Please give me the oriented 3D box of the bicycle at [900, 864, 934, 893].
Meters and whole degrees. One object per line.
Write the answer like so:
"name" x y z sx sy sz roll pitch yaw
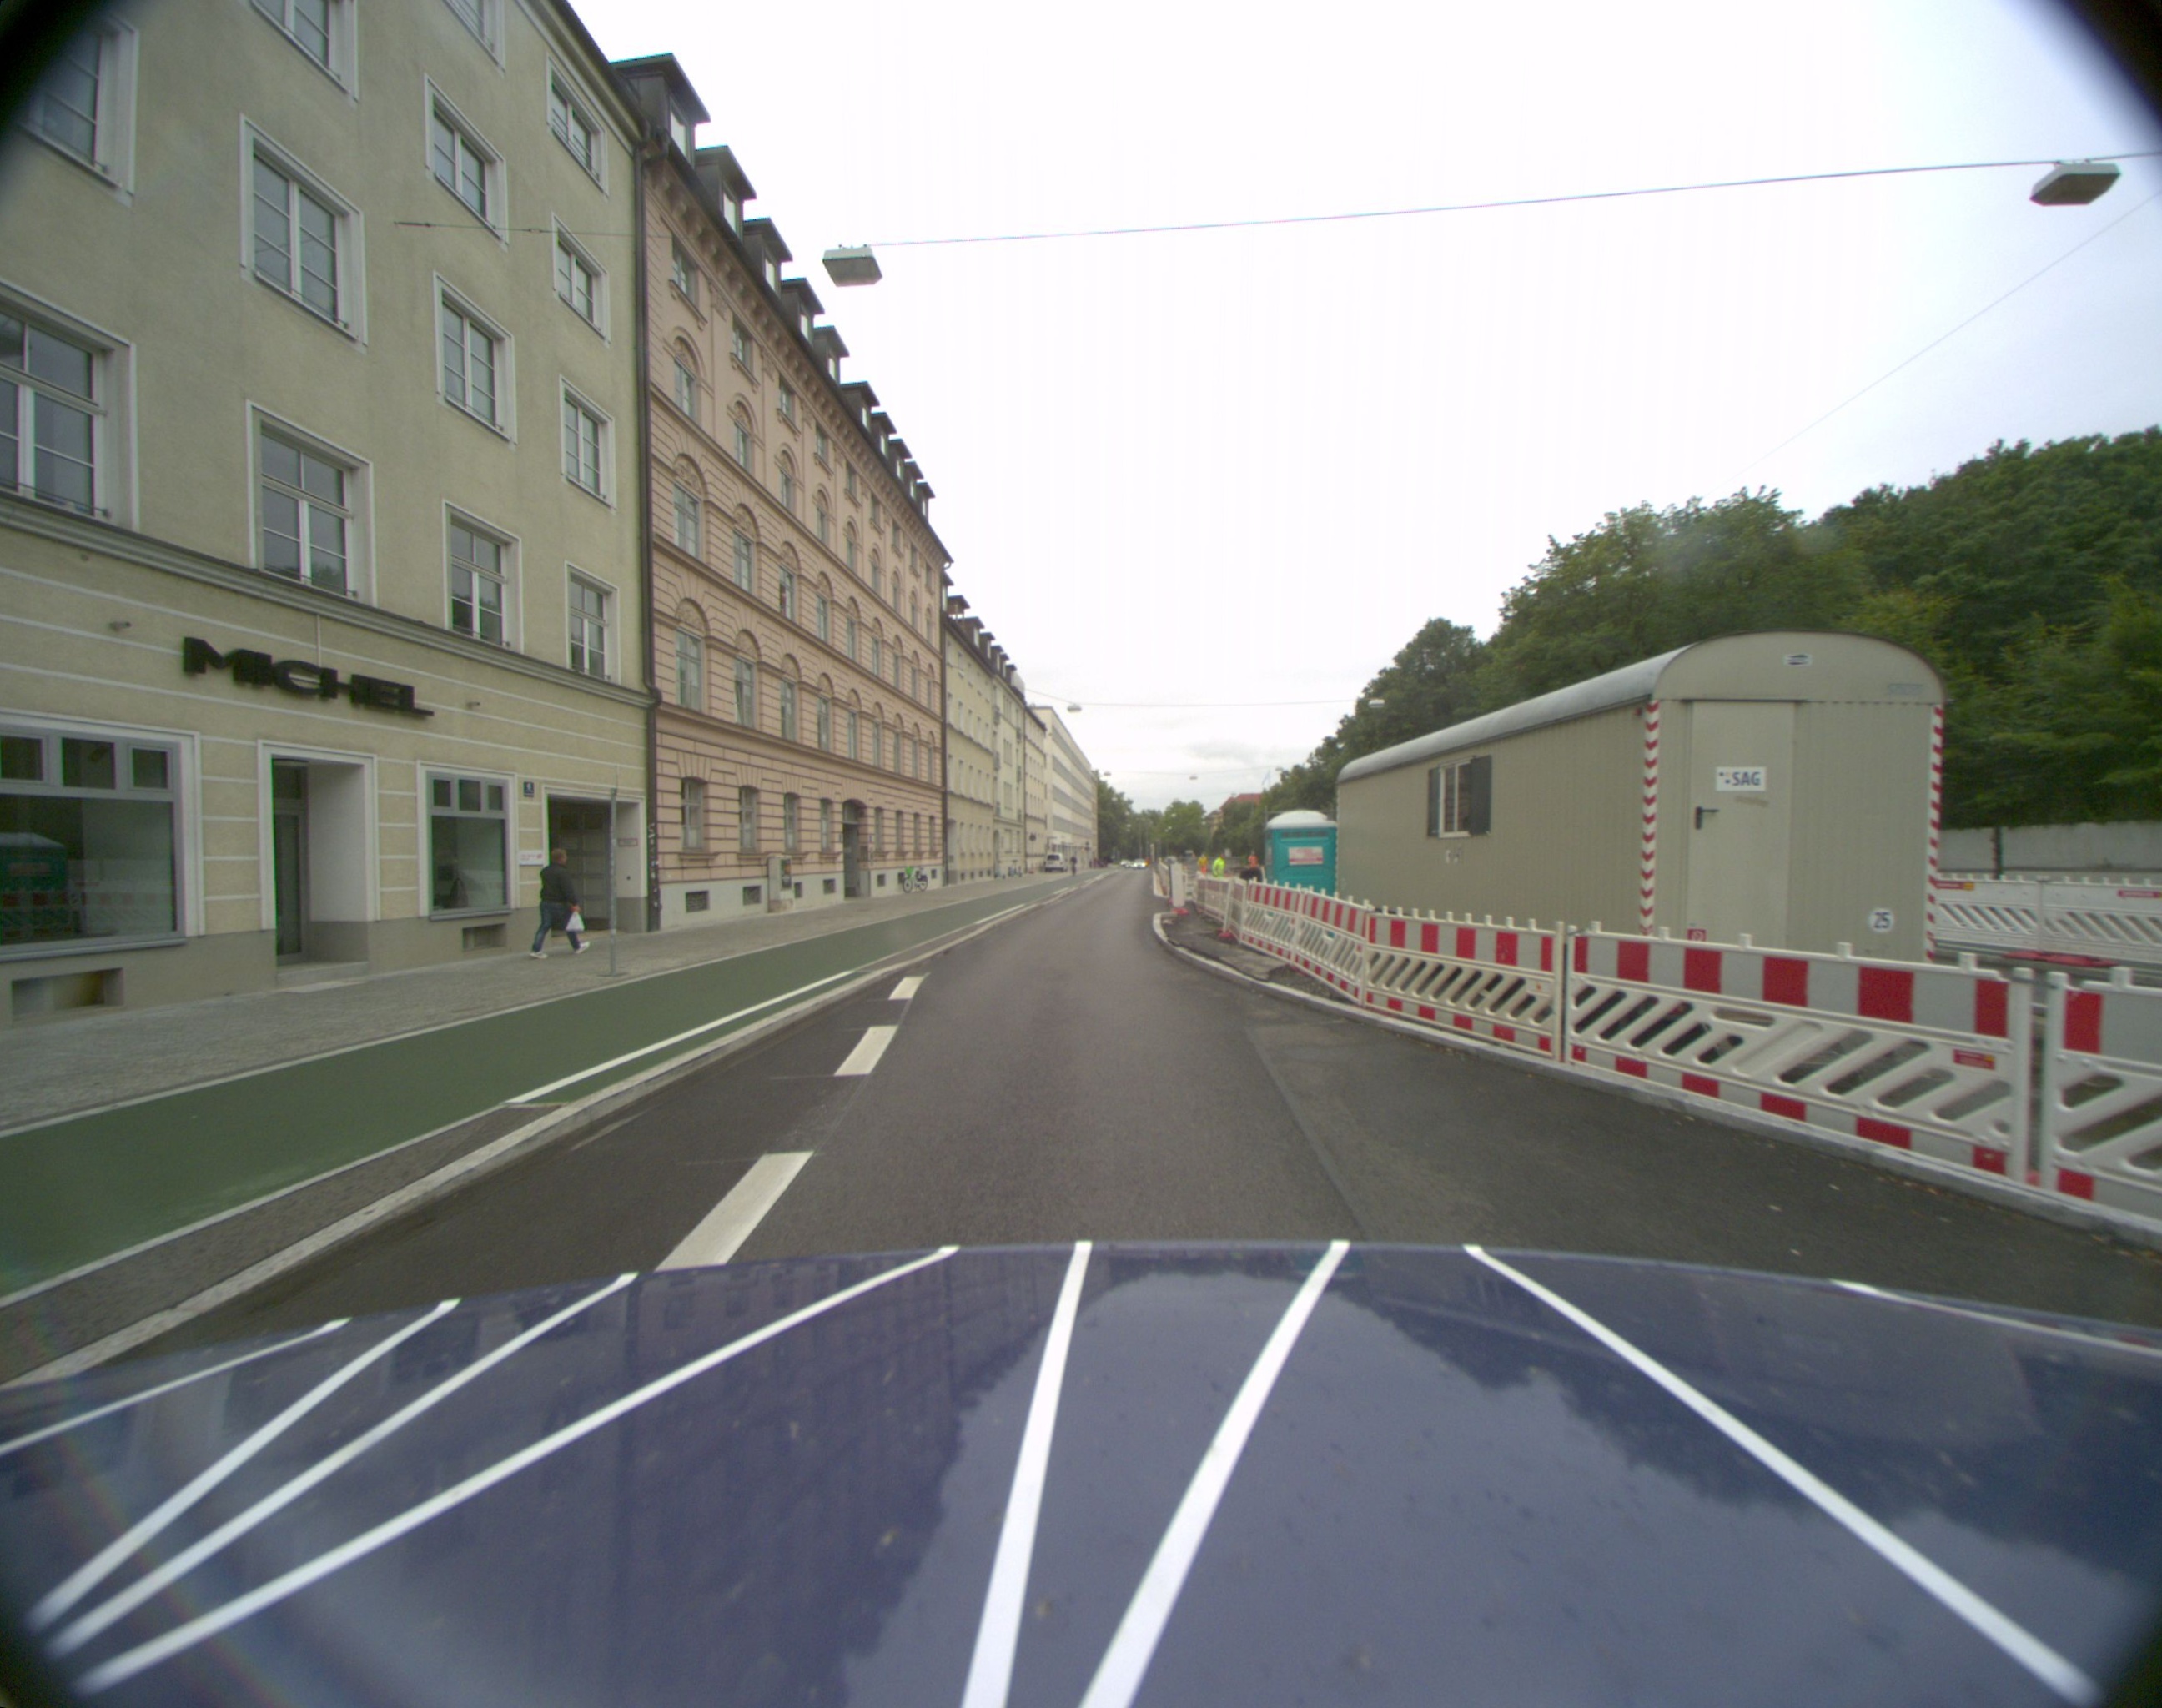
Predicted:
"bicycle" -7.009 1.026 32.523 0.556 1.170 1.728 0 0 20

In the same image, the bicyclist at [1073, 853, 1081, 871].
"bicyclist" -0.314 0.669 62.824 0.632 1.459 0.653 -1 1 -1

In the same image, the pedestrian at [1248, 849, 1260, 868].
"pedestrian" 14.920 0.374 65.647 0.899 1.678 0.912 0 1 8

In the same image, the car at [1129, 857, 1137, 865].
"car" 13.024 1.753 191.259 1.998 2.002 4.000 -3 1 3

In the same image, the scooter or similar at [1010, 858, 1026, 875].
"scooter or similar" -4.632 0.912 56.047 1.078 1.185 0.453 -1 1 -24

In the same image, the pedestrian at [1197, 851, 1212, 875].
"pedestrian" 9.652 0.711 59.378 0.861 1.826 0.874 -1 1 -11

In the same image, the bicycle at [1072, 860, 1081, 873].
"bicycle" -0.380 1.004 62.810 0.632 1.031 2.017 -1 0 -1

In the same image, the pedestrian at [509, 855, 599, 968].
"pedestrian" -8.367 0.882 12.101 0.795 1.735 0.834 -1 1 6

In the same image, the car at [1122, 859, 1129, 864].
"car" 13.593 2.299 230.088 1.998 1.560 4.001 -1 0 4

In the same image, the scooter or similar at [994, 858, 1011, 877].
"scooter or similar" -5.287 0.896 51.238 0.552 1.238 1.079 0 1 40

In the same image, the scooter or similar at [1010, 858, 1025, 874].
"scooter or similar" -4.778 0.923 57.402 1.079 1.185 0.436 -1 1 -35

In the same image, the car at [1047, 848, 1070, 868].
"car" -2.132 0.388 73.499 1.765 1.821 4.001 -1 0 5

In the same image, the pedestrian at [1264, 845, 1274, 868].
"pedestrian" 16.382 0.235 66.125 0.666 1.959 0.807 0 1 31

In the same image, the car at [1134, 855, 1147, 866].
"car" 8.545 0.863 109.476 1.758 1.461 4.001 -2 0 4

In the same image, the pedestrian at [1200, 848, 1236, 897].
"pedestrian" 5.184 0.685 28.802 0.816 1.793 0.990 -1 3 -33
